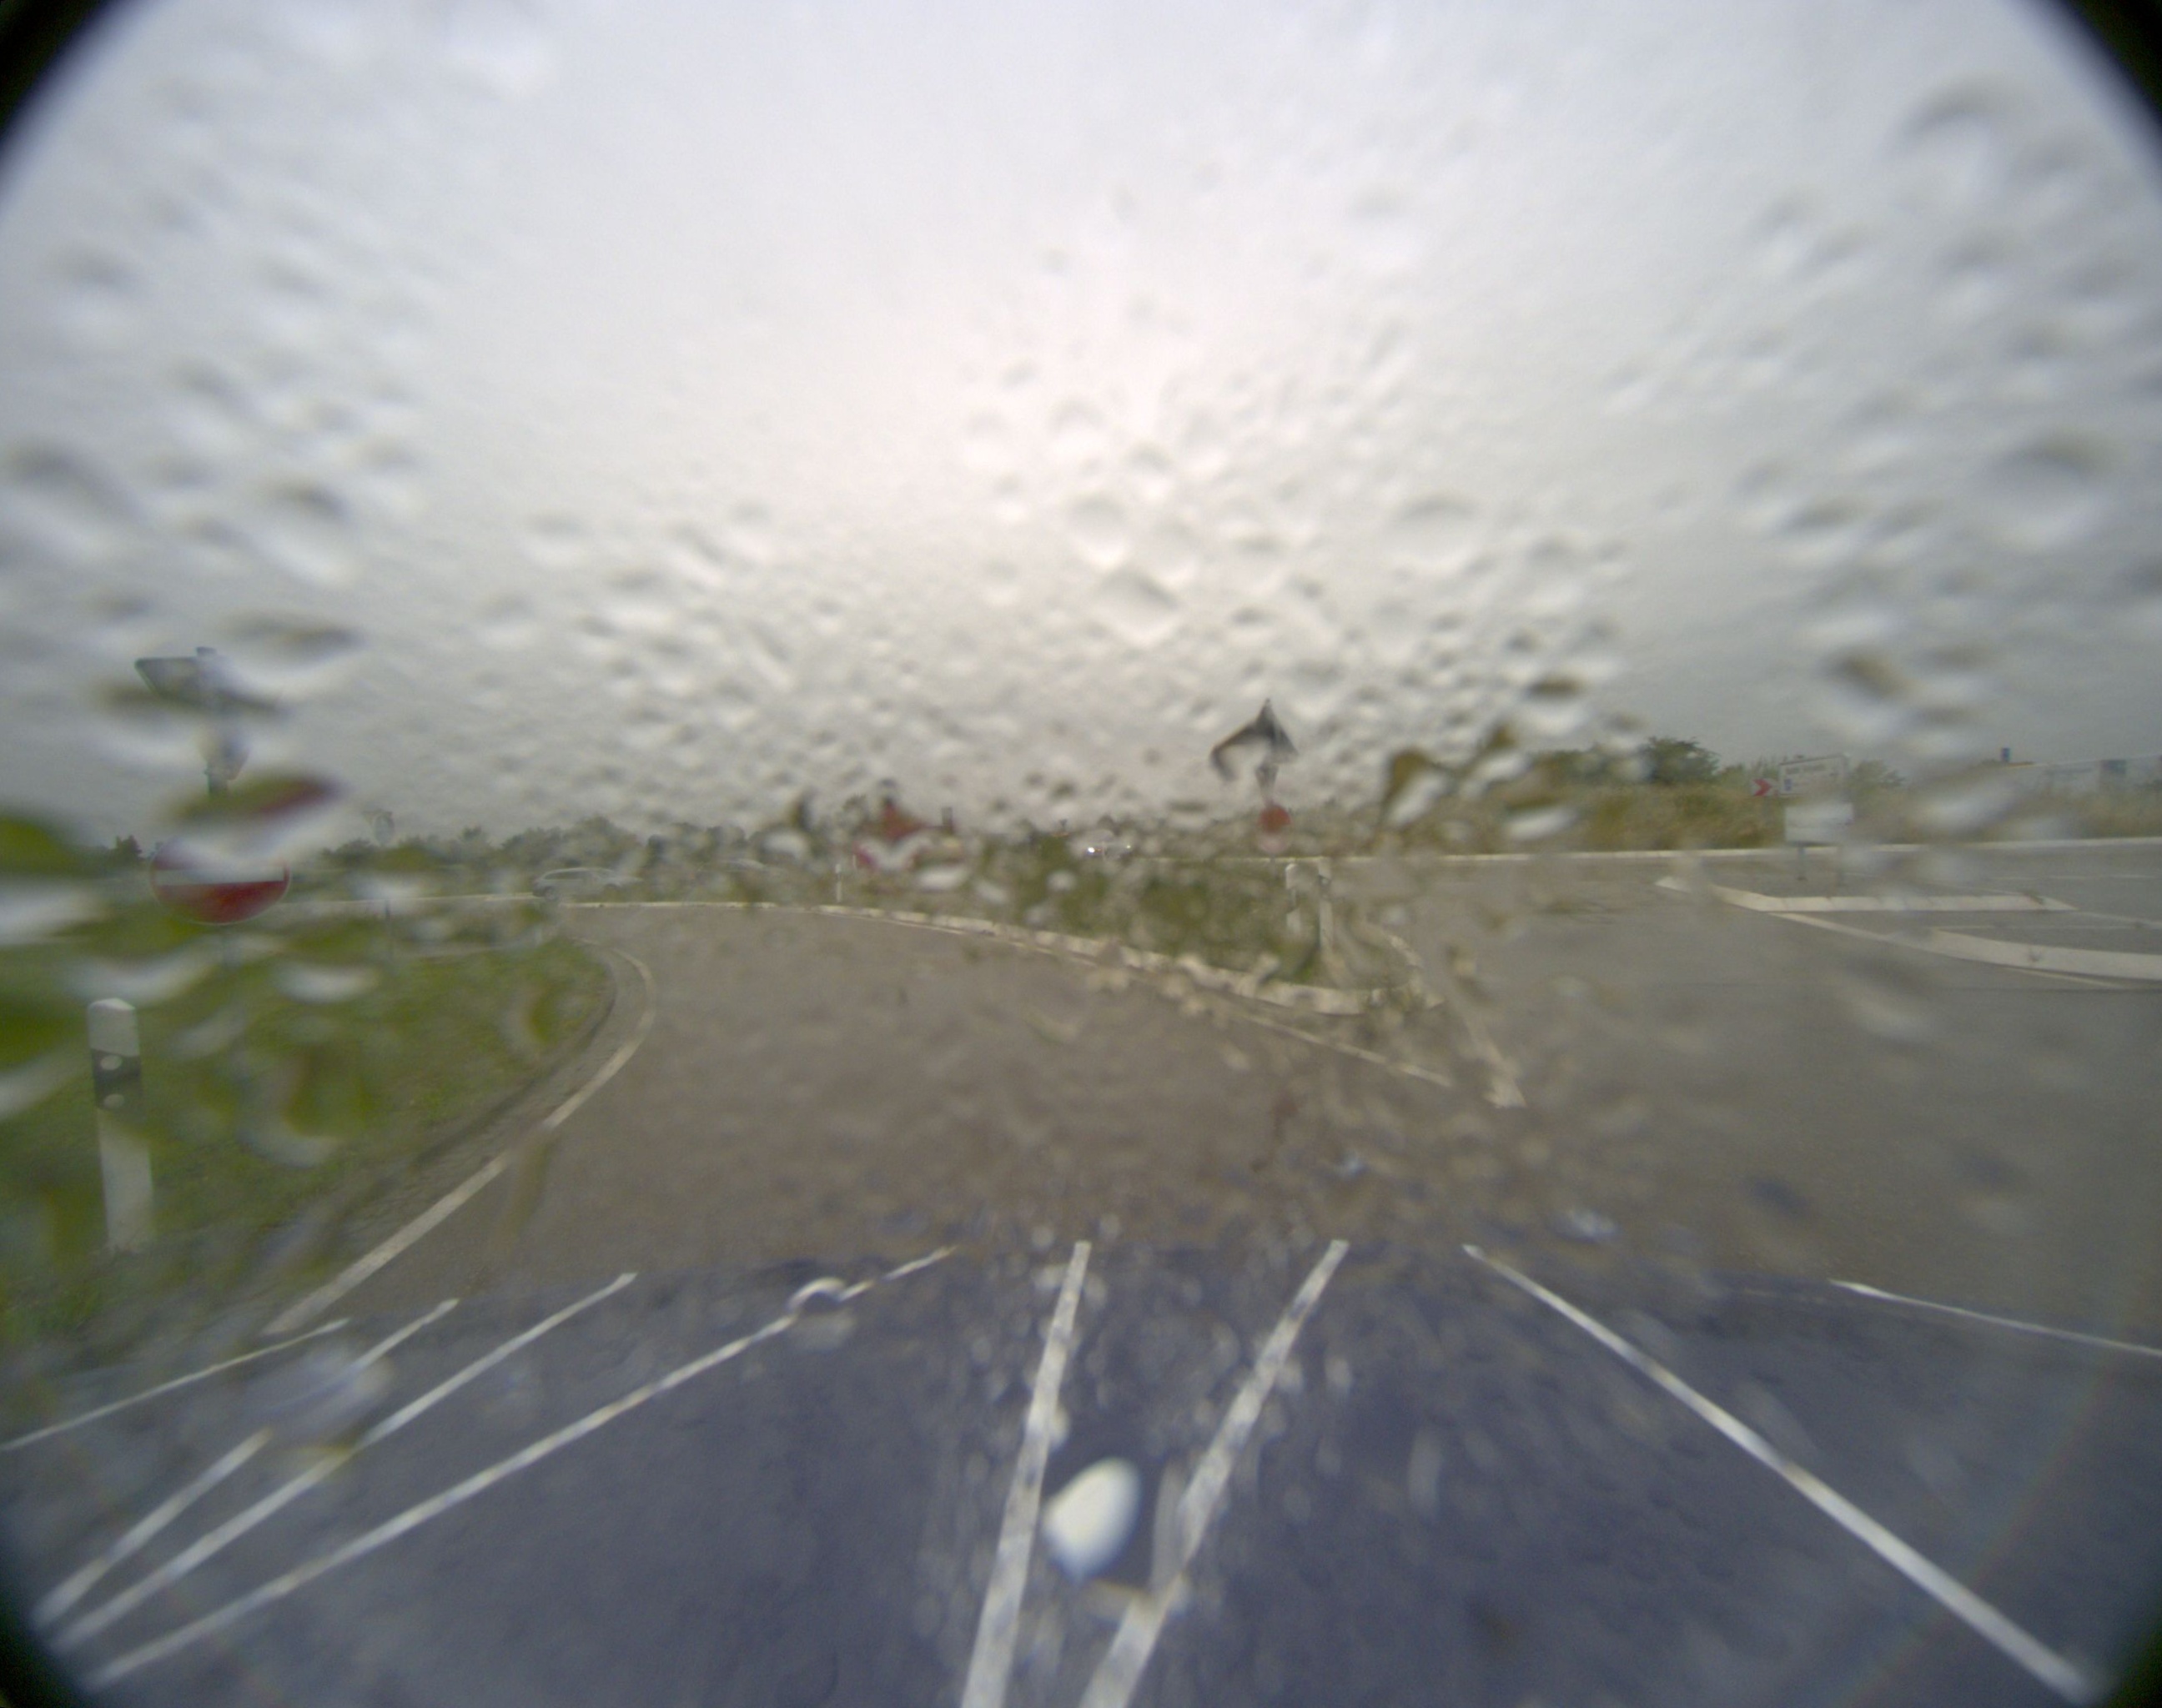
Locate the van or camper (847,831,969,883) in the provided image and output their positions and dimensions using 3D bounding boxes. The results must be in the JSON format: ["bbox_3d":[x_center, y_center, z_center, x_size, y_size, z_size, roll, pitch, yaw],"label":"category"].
[{"bbox_3d":[-7.744,0.128,34.213,4.839,2.003,2.001,-2,4,13],"label":"van or camper"}]

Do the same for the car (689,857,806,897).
[{"bbox_3d":[-15.528,1.038,35.555,4.520,1.594,2.000,-3,1,3],"label":"car"}]

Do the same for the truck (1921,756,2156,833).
[{"bbox_3d":[52.142,-3.063,41.900,3.113,3.577,8.176,-2,1,6],"label":"truck"}]

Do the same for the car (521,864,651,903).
[{"bbox_3d":[-23.165,1.340,35.683,4.659,1.474,1.999,-2,3,0],"label":"car"}]

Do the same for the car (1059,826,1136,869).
[{"bbox_3d":[0.587,-0.337,31.883,2.001,1.566,4.492,-5,3,-14],"label":"car"}]

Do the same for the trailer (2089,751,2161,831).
[{"bbox_3d":[50.327,-2.901,33.241,3.094,3.593,8.870,-2,1,20],"label":"trailer"}]
